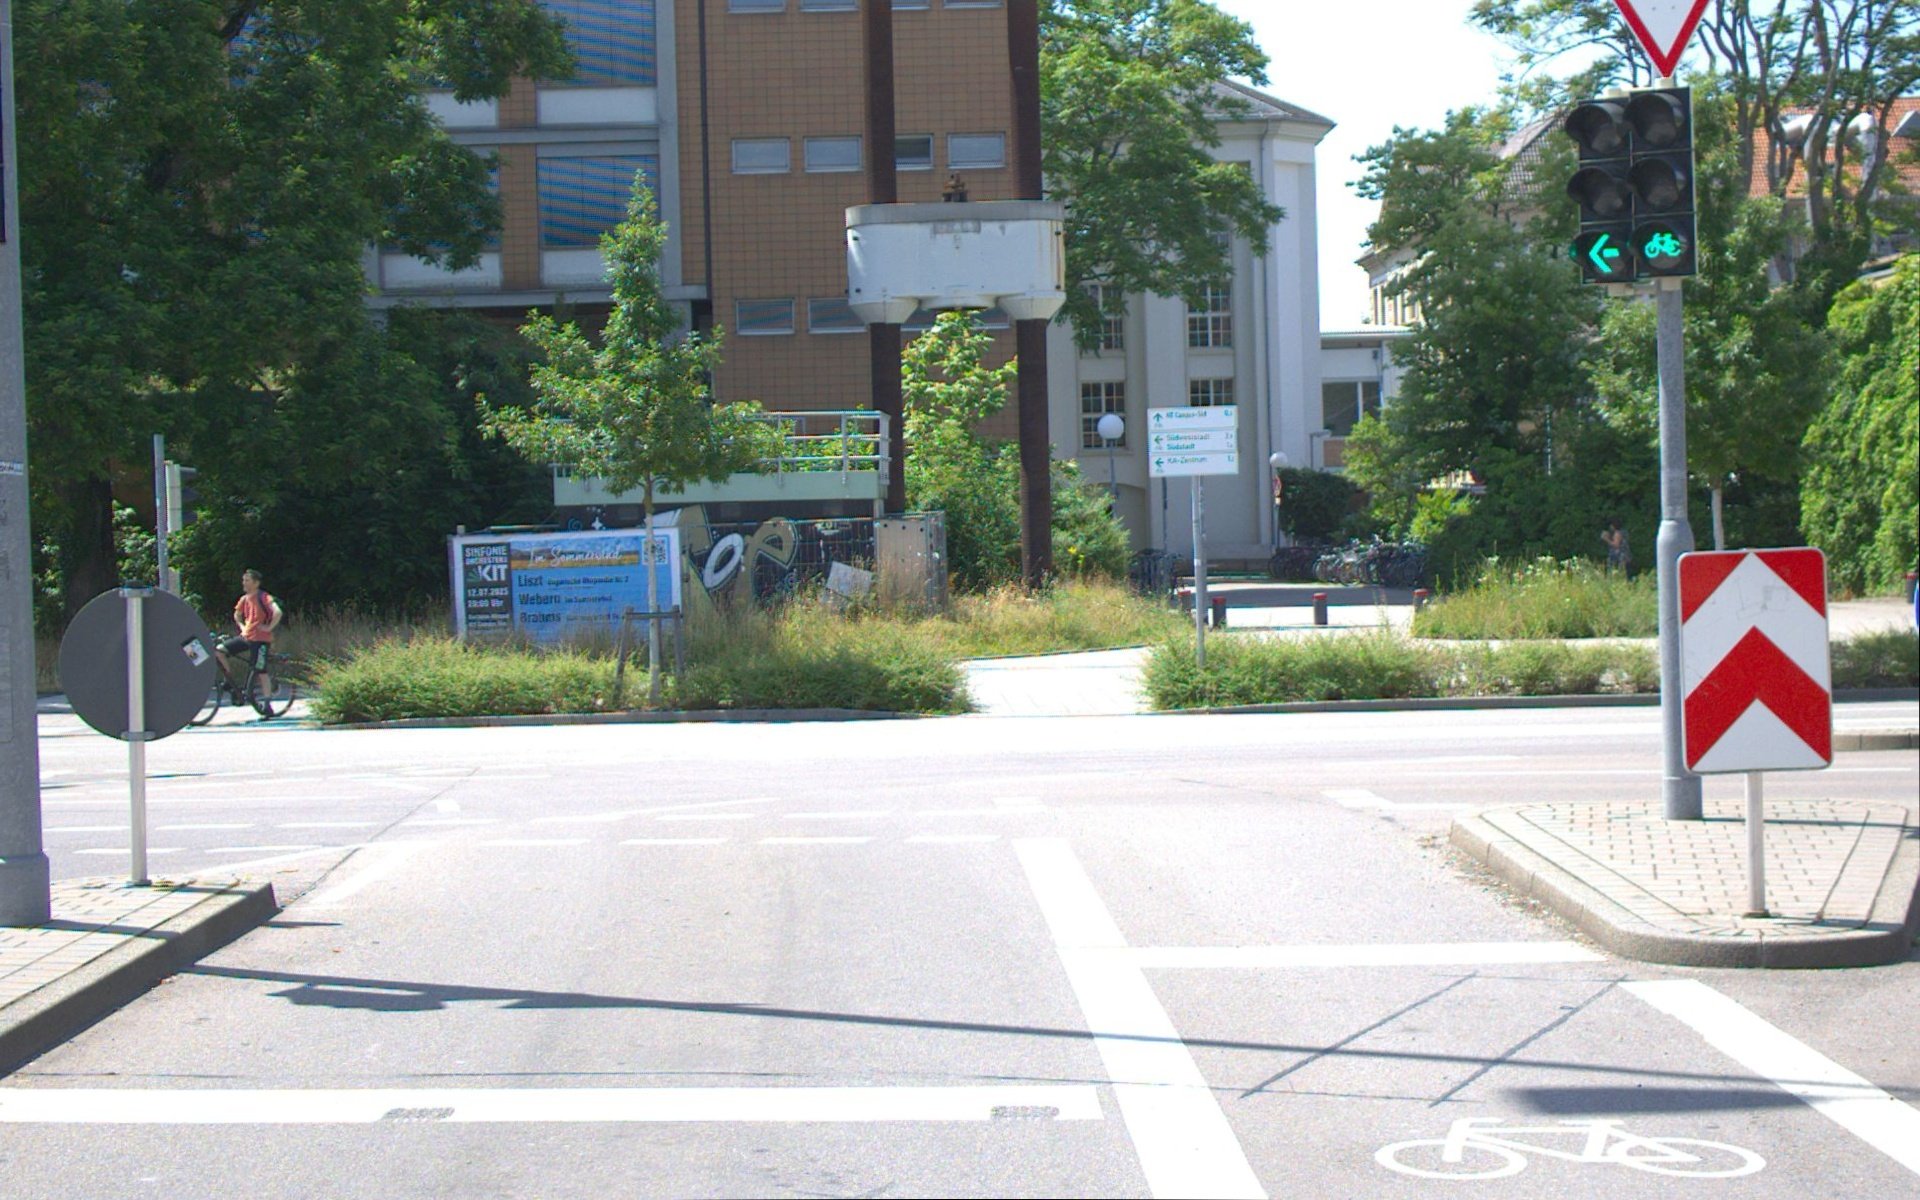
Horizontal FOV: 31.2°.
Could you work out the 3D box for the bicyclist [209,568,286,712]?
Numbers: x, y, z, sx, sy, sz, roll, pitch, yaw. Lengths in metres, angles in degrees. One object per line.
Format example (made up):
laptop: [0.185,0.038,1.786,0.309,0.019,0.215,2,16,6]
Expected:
bicyclist: [-8.640,0.480,41.715,0.551,1.710,0.701,1,3,40]

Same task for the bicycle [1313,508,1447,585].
bicycle: [11.160,-1.430,91.469,3.447,2.007,0.760,1,1,1]

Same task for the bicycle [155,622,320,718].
bicycle: [-8.736,0.834,41.634,0.558,1.041,1.992,1,3,41]

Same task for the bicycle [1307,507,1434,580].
bicycle: [11.505,-1.587,96.384,3.447,2.007,0.760,1,1,1]

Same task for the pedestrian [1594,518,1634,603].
pedestrian: [13.008,-0.786,68.390,0.639,1.660,0.707,1,1,-2]

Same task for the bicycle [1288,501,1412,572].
bicycle: [11.177,-1.813,98.639,3.447,2.007,0.760,1,1,1]

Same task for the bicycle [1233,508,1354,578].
bicycle: [9.758,-1.671,100.587,3.447,2.007,0.760,1,1,1]

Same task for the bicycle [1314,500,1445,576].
bicycle: [11.337,-1.670,92.981,3.447,2.007,0.760,1,1,1]

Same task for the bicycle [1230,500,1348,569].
bicycle: [9.855,-1.962,103.016,3.447,2.007,0.760,1,1,1]
